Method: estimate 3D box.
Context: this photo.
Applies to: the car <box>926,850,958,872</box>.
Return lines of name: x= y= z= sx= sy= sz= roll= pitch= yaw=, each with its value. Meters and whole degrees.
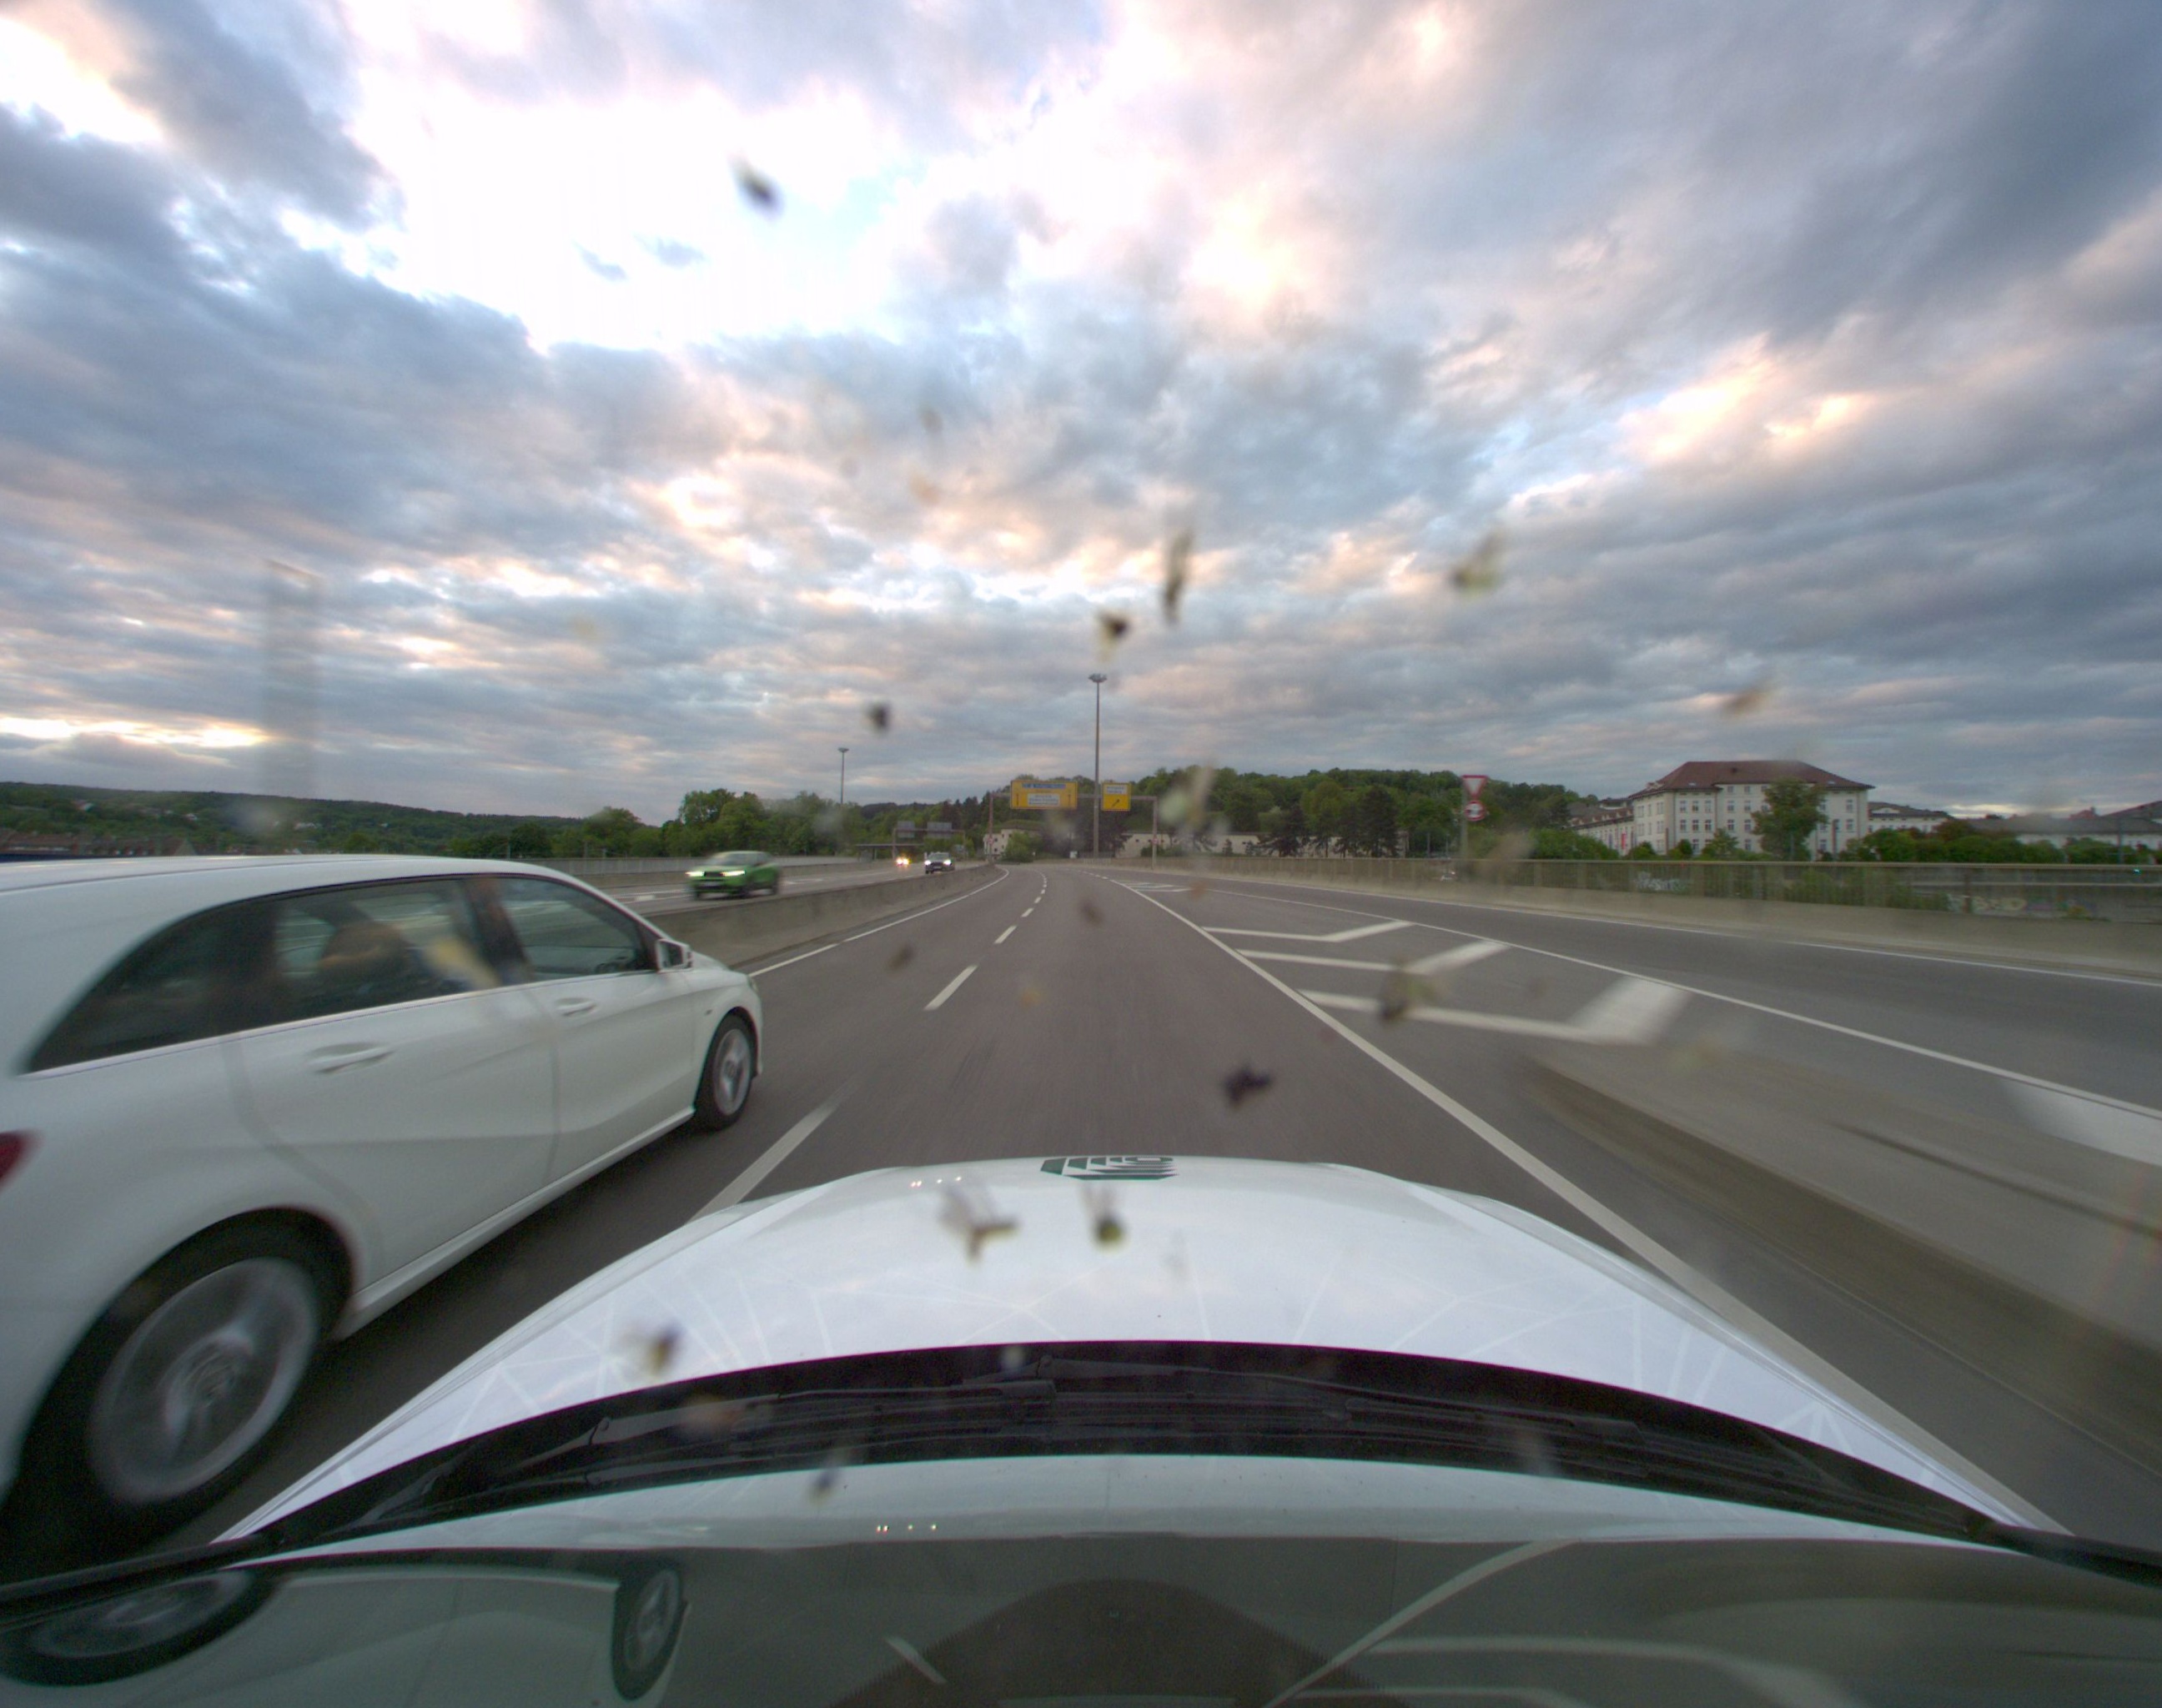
car: x=-9.999 y=0.474 z=58.690 sx=1.807 sy=1.534 sz=4.539 roll=0 pitch=0 yaw=-4

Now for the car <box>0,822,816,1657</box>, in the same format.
car: x=-2.809 y=0.740 z=3.509 sx=1.685 sy=1.537 sz=4.783 roll=-1 pitch=-1 yaw=1

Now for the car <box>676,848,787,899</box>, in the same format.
car: x=-11.365 y=0.601 z=26.809 sx=1.704 sy=1.494 sz=4.083 roll=2 pitch=0 yaw=2

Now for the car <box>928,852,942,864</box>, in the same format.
car: x=-18.665 y=0.549 z=104.164 sx=1.732 sy=1.476 sz=4.207 roll=0 pitch=0 yaw=-11

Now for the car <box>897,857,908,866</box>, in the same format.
car: x=-35.953 y=1.529 z=164.129 sx=1.673 sy=1.733 sz=3.973 roll=1 pitch=-1 yaw=-20

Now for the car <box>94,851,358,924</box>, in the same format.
car: x=-20.554 y=0.746 z=19.897 sx=1.889 sy=1.596 sz=4.166 roll=0 pitch=0 yaw=3
